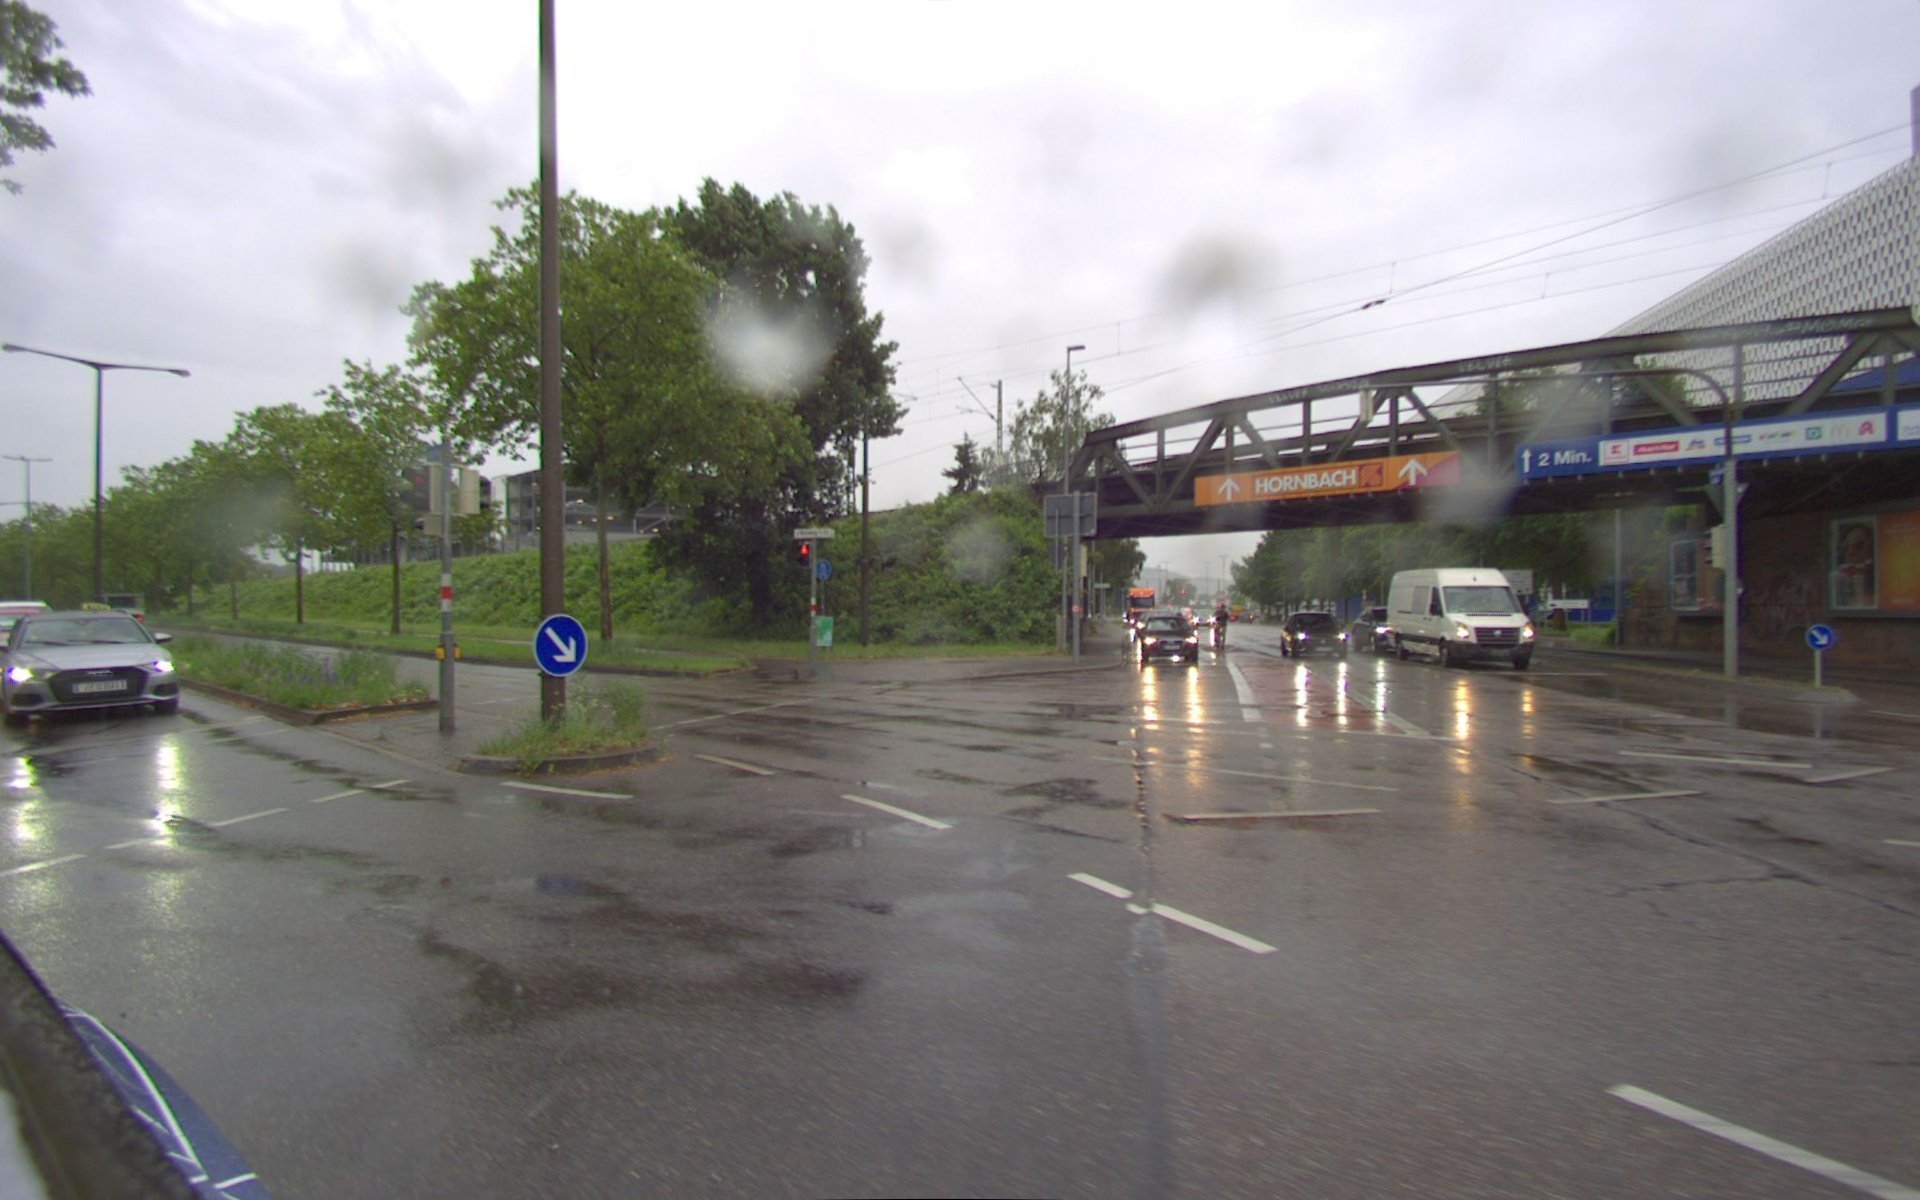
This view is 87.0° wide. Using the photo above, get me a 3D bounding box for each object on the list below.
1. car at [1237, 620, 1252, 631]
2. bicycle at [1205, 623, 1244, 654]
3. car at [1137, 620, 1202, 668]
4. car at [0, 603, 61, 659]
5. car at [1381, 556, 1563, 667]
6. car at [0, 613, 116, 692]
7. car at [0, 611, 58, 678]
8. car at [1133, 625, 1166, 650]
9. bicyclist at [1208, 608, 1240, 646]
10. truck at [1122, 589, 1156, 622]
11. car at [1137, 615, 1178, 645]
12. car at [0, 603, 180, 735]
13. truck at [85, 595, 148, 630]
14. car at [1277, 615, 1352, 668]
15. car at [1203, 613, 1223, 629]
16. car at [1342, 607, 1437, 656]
[{"bbox_3d":[42.499,3.837,151.087,1.636,1.612,3.899,0,-1,9],"label":"car"},{"bbox_3d":[10.718,1.537,41.132,1.186,1.213,3.440,0,-1,9],"label":"bicycle"},{"bbox_3d":[6.758,1.383,33.007,1.673,1.445,4.139,-1,-1,6],"label":"car"},{"bbox_3d":[-29.865,0.957,31.975,4.148,1.624,1.807,-1,1,44],"label":"car"},{"bbox_3d":[13.654,0.308,27.649,2.360,2.631,6.958,0,-1,9],"label":"car"},{"bbox_3d":[-18.736,1.001,20.769,4.011,1.387,1.660,-1,1,43],"label":"car"},{"bbox_3d":[-23.047,1.047,24.357,4.094,1.476,1.700,-1,1,45],"label":"car"},{"bbox_3d":[11.948,2.341,63.962,1.673,1.445,4.139,-1,-1,6],"label":"car"},{"bbox_3d":[10.720,1.085,41.139,1.139,1.495,1.054,0,-1,9],"label":"bicyclist"},{"bbox_3d":[17.090,0.530,96.802,2.522,2.847,8.169,-2,-1,6],"label":"truck"},{"bbox_3d":[10.144,1.536,52.217,1.673,1.445,4.139,-1,-1,6],"label":"car"},{"bbox_3d":[-13.025,0.886,14.864,4.822,1.586,1.750,-1,1,44],"label":"car"},{"bbox_3d":[-58.721,0.862,70.437,6.866,2.383,2.448,-1,-1,42],"label":"truck"},{"bbox_3d":[11.603,1.313,33.348,1.636,1.612,3.899,0,-1,9],"label":"car"},{"bbox_3d":[26.488,2.158,105.977,1.636,1.612,3.899,0,-1,9],"label":"car"},{"bbox_3d":[15.160,1.077,36.009,1.861,1.612,4.940,0,-1,8],"label":"car"}]
